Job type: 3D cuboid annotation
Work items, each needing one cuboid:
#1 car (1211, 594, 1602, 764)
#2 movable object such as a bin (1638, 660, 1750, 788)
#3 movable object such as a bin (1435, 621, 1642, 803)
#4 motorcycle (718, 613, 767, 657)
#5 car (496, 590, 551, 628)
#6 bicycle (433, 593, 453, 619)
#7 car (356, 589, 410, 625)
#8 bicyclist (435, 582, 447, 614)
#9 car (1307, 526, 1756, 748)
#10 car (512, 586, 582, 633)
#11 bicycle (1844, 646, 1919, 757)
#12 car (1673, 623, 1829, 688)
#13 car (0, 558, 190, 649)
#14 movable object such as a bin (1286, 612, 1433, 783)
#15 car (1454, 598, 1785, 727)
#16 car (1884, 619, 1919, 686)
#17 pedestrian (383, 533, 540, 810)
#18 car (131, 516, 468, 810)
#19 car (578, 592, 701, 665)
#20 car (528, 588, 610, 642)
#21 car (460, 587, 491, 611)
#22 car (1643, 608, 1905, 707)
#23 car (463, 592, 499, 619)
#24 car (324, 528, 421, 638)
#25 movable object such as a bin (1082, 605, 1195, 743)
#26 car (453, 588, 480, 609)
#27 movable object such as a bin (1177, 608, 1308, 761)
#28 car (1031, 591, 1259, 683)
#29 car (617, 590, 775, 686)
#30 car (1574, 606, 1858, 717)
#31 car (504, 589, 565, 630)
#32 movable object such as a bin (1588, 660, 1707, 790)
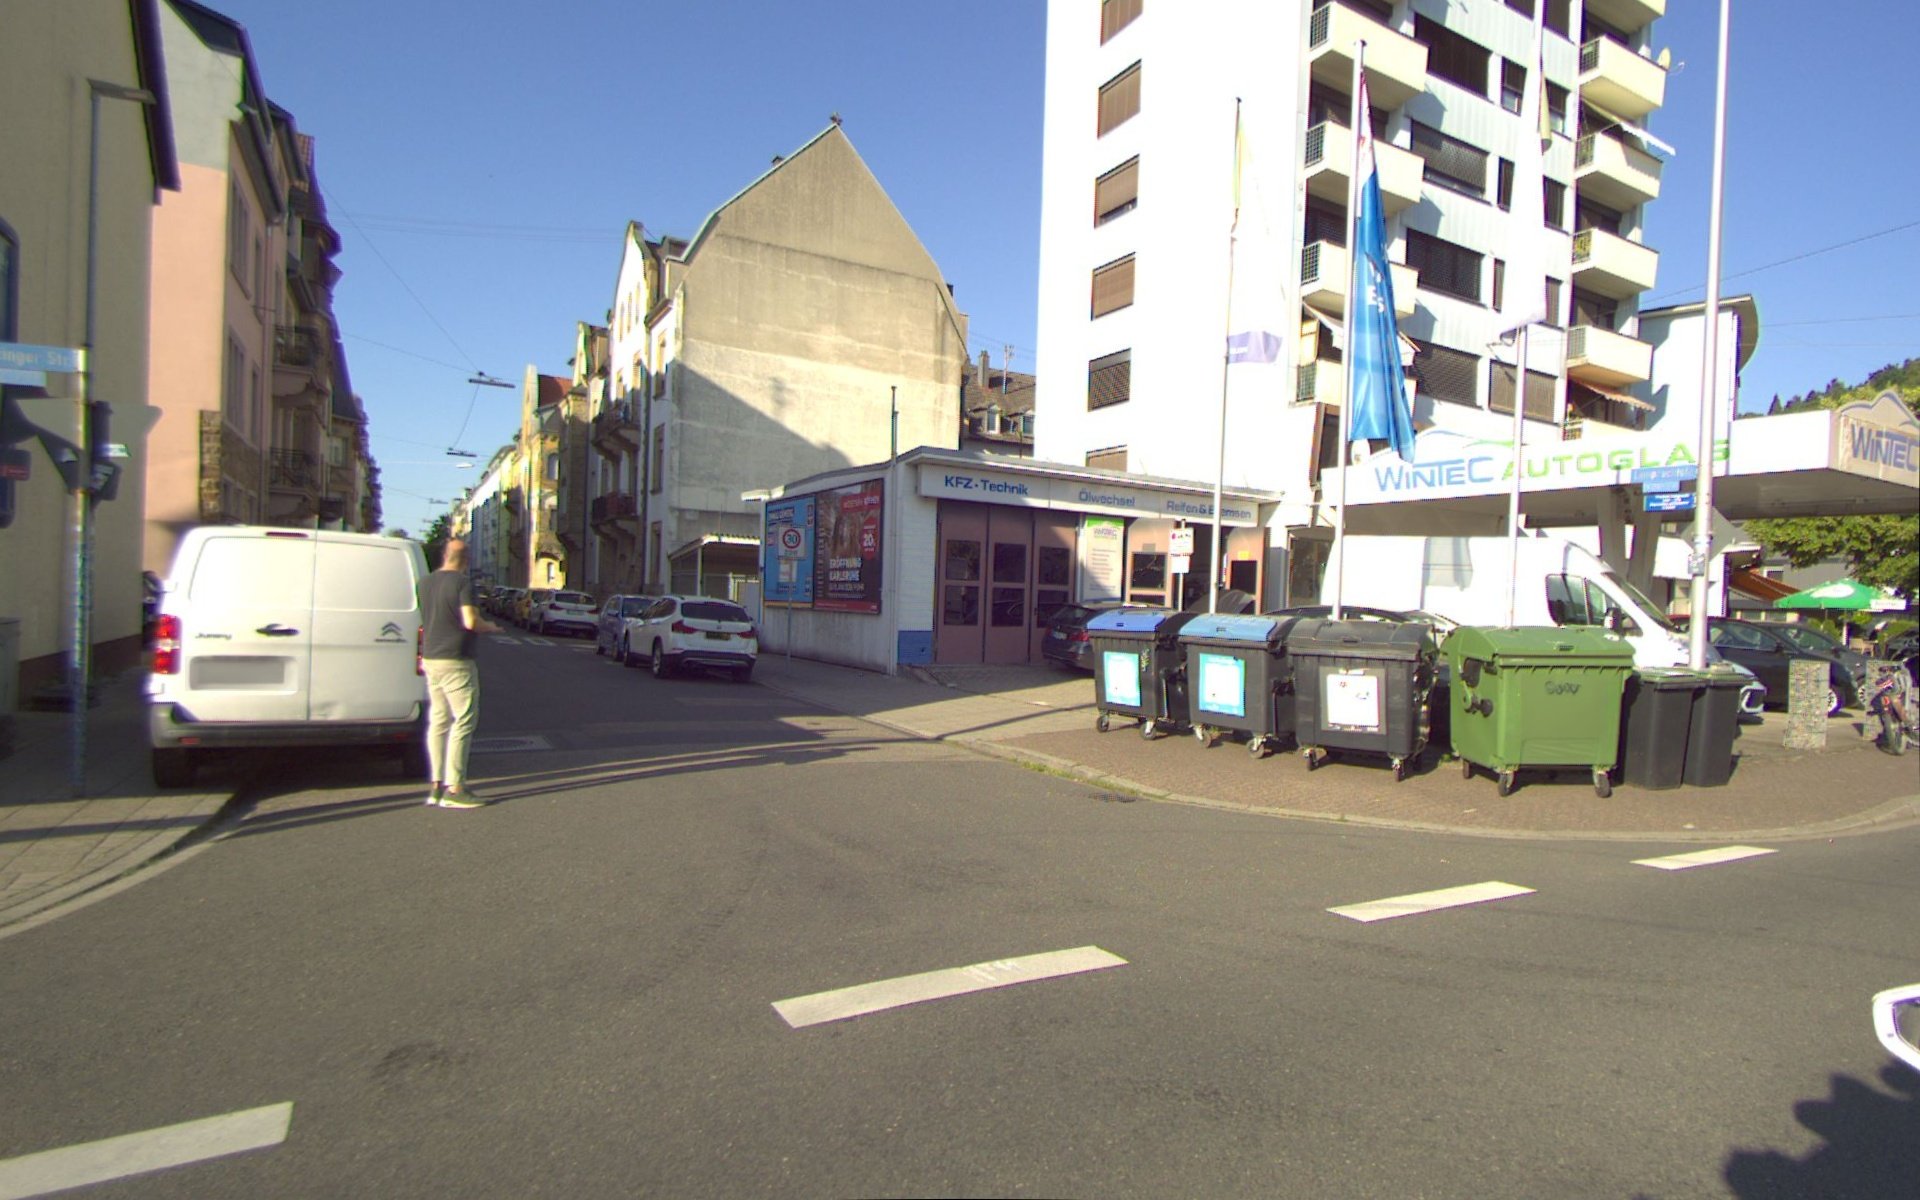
[{"bbox_3d":[5.268,0.802,12.222,1.760,1.589,3.949,1,2,-43],"label":"car"},{"bbox_3d":[6.916,1.148,9.486,0.570,1.084,0.639,-2,2,-17],"label":"movable object such as a bin"},{"bbox_3d":[5.259,0.979,9.220,1.286,1.503,1.058,-1,2,-1],"label":"movable object such as a bin"},{"bbox_3d":[-5.733,0.899,26.444,0.531,1.031,2.043,2,1,-33],"label":"motorcycle"},{"bbox_3d":[-21.066,0.405,48.431,1.977,1.544,3.970,6,-2,-28],"label":"car"},{"bbox_3d":[-29.618,0.328,57.520,0.815,1.433,2.344,2,0,-31],"label":"bicycle"},{"bbox_3d":[-27.092,0.289,47.284,1.977,1.426,3.970,6,-2,-28],"label":"car"},{"bbox_3d":[-29.810,-0.104,57.702,0.553,1.790,0.577,2,0,-32],"label":"bicyclist"},{"bbox_3d":[7.649,0.357,13.759,4.995,2.502,2.099,2,1,40],"label":"car"},{"bbox_3d":[-16.022,0.340,38.823,1.977,1.544,3.970,6,-2,-28],"label":"car"},{"bbox_3d":[11.222,1.165,11.964,1.765,1.193,0.717,2,0,-39],"label":"bicycle"},{"bbox_3d":[18.098,1.208,22.938,4.095,1.301,1.577,0,1,-33],"label":"car"},{"bbox_3d":[-17.522,0.008,19.248,3.949,1.426,1.987,6,-2,-26],"label":"car"},{"bbox_3d":[3.830,0.888,9.638,1.201,1.503,0.702,0,2,33],"label":"movable object such as a bin"},{"bbox_3d":[9.810,0.839,15.254,3.930,1.589,1.768,3,2,32],"label":"car"},{"bbox_3d":[22.409,1.243,21.683,1.872,1.474,4.314,2,1,17],"label":"car"},{"bbox_3d":[-3.594,0.497,7.313,0.805,1.893,0.793,1,0,-11],"label":"pedestrian"},{"bbox_3d":[-5.808,0.426,9.184,1.977,1.959,4.591,2,0,-31],"label":"car"},{"bbox_3d":[-7.704,0.629,23.926,1.977,1.426,3.970,6,-2,-28],"label":"car"},{"bbox_3d":[-13.333,0.465,34.105,1.977,1.544,3.970,6,-2,-28],"label":"car"},{"bbox_3d":[-39.210,-0.090,81.247,1.977,1.634,3.970,6,-2,-28],"label":"car"},{"bbox_3d":[14.779,0.997,18.417,3.324,1.589,1.623,2,0,10],"label":"car"},{"bbox_3d":[-34.138,0.377,71.490,1.977,1.634,3.970,6,-2,-28],"label":"car"},{"bbox_3d":[-16.659,-0.425,28.526,2.114,2.763,6.076,2,0,-31],"label":"car"},{"bbox_3d":[2.106,0.830,11.917,0.696,1.503,1.171,-2,2,-33],"label":"movable object such as a bin"},{"bbox_3d":[-45.345,-0.140,92.265,1.977,1.634,3.970,6,-2,-28],"label":"car"},{"bbox_3d":[3.032,0.861,10.850,0.696,1.503,1.211,-2,2,-33],"label":"movable object such as a bin"},{"bbox_3d":[3.651,0.691,19.664,4.265,1.589,1.758,1,1,-31],"label":"car"},{"bbox_3d":[-5.244,0.680,19.607,1.977,1.544,3.970,6,-2,-28],"label":"car"},{"bbox_3d":[12.290,0.949,16.562,3.325,1.589,1.623,2,0,15],"label":"car"},{"bbox_3d":[-18.534,0.389,43.661,1.977,1.544,3.970,6,-2,-28],"label":"car"},{"bbox_3d":[6.347,1.133,9.297,0.575,1.077,0.660,0,3,-17],"label":"movable object such as a bin"}]
